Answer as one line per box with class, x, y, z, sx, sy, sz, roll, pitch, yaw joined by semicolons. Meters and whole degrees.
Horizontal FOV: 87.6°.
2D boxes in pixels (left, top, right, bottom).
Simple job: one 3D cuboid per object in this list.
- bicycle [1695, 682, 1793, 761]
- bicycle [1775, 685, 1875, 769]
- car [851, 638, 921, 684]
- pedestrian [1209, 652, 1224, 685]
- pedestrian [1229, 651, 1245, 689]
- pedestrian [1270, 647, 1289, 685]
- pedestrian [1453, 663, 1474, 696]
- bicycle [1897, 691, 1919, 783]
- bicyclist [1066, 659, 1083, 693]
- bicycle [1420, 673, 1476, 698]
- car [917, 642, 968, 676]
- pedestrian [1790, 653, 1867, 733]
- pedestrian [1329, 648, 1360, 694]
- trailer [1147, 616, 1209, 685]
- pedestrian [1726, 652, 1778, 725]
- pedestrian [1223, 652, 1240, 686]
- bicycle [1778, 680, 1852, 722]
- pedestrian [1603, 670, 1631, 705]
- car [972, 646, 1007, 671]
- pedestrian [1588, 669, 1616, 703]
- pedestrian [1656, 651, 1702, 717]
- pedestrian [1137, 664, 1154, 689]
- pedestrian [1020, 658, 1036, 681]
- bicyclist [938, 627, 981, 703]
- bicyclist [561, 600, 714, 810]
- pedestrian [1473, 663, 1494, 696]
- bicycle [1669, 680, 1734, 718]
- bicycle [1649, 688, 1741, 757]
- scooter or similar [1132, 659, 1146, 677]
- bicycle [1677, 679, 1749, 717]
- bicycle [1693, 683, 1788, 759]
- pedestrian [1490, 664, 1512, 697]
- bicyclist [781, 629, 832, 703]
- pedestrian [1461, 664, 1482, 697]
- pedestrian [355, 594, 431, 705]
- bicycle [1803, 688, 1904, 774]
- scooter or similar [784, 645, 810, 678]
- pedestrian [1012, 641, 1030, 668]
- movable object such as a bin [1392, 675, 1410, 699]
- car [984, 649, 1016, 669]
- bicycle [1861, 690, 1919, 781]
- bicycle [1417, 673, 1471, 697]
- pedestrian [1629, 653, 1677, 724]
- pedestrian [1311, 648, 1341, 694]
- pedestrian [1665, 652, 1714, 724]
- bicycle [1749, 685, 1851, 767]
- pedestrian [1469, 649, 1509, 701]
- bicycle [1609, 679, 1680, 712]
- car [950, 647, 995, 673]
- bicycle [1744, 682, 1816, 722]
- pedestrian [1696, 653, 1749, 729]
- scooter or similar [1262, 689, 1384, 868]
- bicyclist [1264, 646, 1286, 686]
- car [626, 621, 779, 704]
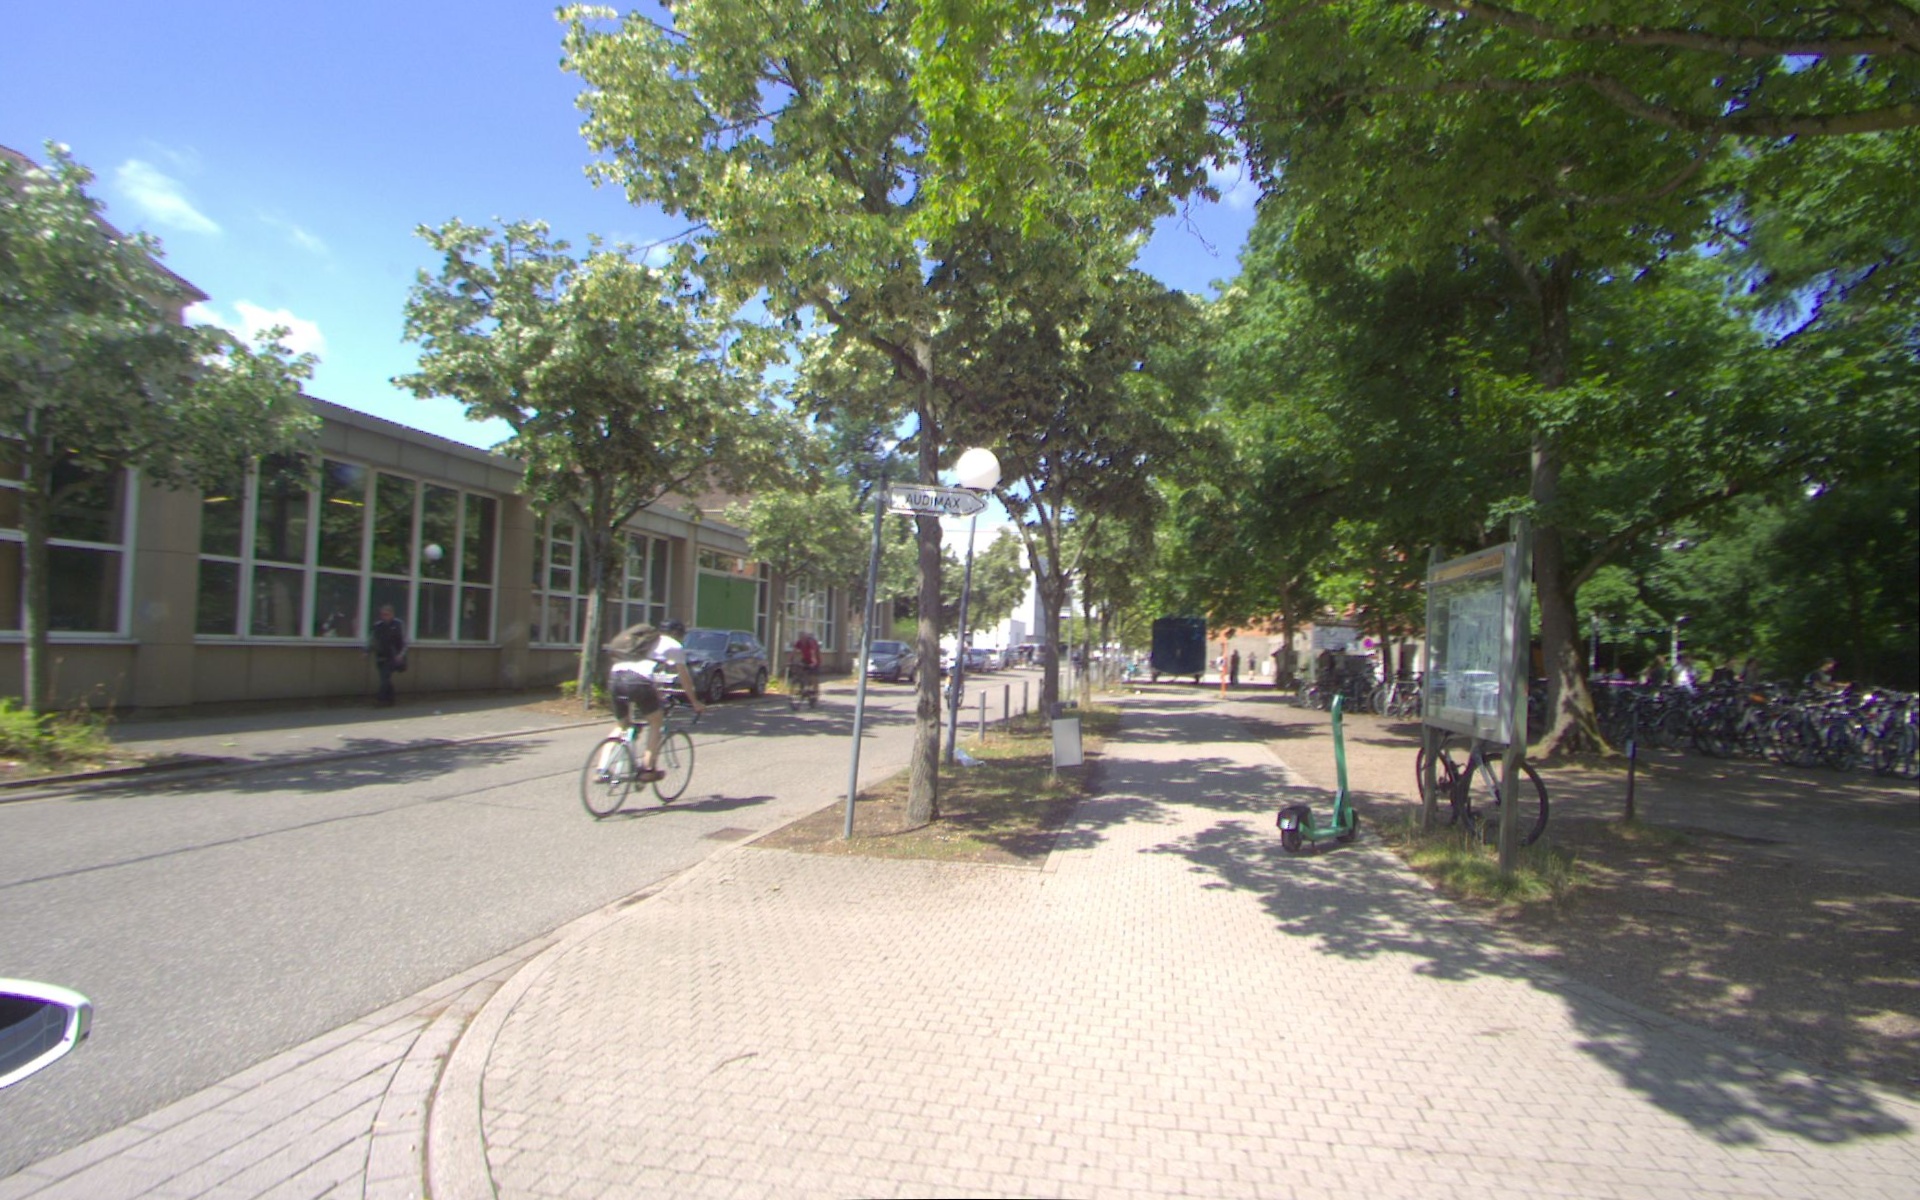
bicycle;12.370;1.905;15.786;1.764;1.185;0.401;3;-2;-23
bicycle;12.876;1.882;14.891;1.816;1.185;0.344;3;-2;-23
car;-2.839;2.367;39.192;1.729;1.575;4.115;4;-2;9
pedestrian;13.297;3.568;51.997;0.686;1.682;0.788;1;-2;11
pedestrian;11.543;2.929;41.801;0.559;1.590;0.928;1;-4;11
pedestrian;16.018;3.312;50.192;0.753;1.878;0.824;1;-2;11
pedestrian;21.531;3.405;42.811;0.560;1.364;0.729;-1;-2;7
bicycle;13.311;1.854;13.734;1.823;1.185;0.343;4;-2;-37
bicyclist;6.306;4.170;55.089;0.796;1.778;0.692;3;-2;12
bicycle;23.804;4.176;48.903;2.361;1.085;0.782;2;-3;19
car;-0.825;2.964;50.142;1.698;1.474;4.585;4;-2;9
pedestrian;20.298;2.161;23.422;0.945;1.798;0.972;2;-1;-10
pedestrian;16.897;3.105;44.034;0.819;1.973;1.078;1;-2;-9
trailer;10.449;2.447;48.484;2.649;3.089;6.259;1;-3;10
pedestrian;20.194;2.247;25.558;0.730;1.798;0.721;2;-1;3
pedestrian;14.053;3.570;51.839;0.753;1.682;0.824;1;-2;11
bicycle;22.359;2.635;26.184;1.720;1.052;0.478;2;-2;-10
pedestrian;24.725;3.274;37.677;0.656;1.287;0.622;-1;-2;7
car;1.932;3.750;64.580;1.636;1.429;3.808;3;-2;11
pedestrian;24.716;3.310;38.549;0.656;1.287;0.622;-1;-2;7
pedestrian;20.057;2.339;27.951;0.731;1.798;0.720;2;-1;-14
pedestrian;14.158;5.826;76.306;0.945;1.717;0.703;7;2;22
pedestrian;4.892;4.977;72.046;0.838;1.615;0.826;2;-2;-32
bicyclist;-0.010;1.607;24.727;0.759;1.778;0.848;4;-1;12
bicyclist;-2.825;0.897;8.885;0.706;1.683;1.095;4;-2;13
pedestrian;22.324;3.392;42.705;0.560;1.364;0.729;-1;-2;7
bicycle;21.429;2.872;28.943;1.751;1.052;0.435;2;-2;-10
bicycle;12.239;2.033;16.667;1.765;1.083;0.425;3;-2;-25
scooter or similar;12.209;4.623;68.313;0.640;1.175;1.261;1;-2;26
bicycle;22.130;2.875;29.435;1.922;1.052;0.479;2;-2;-8
bicycle;12.795;1.978;16.407;1.764;1.185;0.401;3;-2;-23
pedestrian;22.589;3.353;41.821;0.560;1.364;0.729;-1;-2;7
bicyclist;-3.443;1.474;22.510;0.822;1.562;0.960;3;-2;8
pedestrian;21.463;3.372;42.016;0.560;1.364;0.729;-1;-2;7
pedestrian;-9.696;0.833;17.134;0.776;1.810;0.670;4;-1;12
bicycle;12.993;1.891;14.557;1.816;1.185;0.344;3;-2;-23
scooter or similar;-6.142;2.319;37.790;0.497;1.183;1.215;4;-2;11
pedestrian;4.519;4.071;74.682;0.842;1.887;1.109;-3;6;-31
movable object such as a bin;20.491;4.027;46.496;0.590;1.084;0.743;2;-4;12
car;2.854;4.153;70.713;1.619;1.317;3.928;2;-3;12
bicycle;13.105;1.869;14.044;1.823;1.185;0.343;4;-2;-37
bicycle;24.054;4.210;49.784;2.364;1.085;0.781;1;-3;25
pedestrian;18.177;2.301;26.284;0.730;1.798;0.721;2;-1;3
pedestrian;16.043;3.087;43.897;0.819;1.973;1.078;1;-2;-9
pedestrian;19.085;2.287;26.212;0.730;1.798;0.721;2;-1;3
bicycle;12.826;1.915;15.272;1.816;1.185;0.401;3;-2;-23
pedestrian;19.077;2.700;36.155;0.942;1.798;0.920;2;-1;3
bicycle;21.462;2.988;31.403;1.922;0.991;0.613;2;-2;-8
car;0.780;3.480;58.447;1.698;1.360;4.165;4;-2;13
bicycle;22.458;2.796;27.427;1.798;1.052;0.478;2;-2;-10
pedestrian;18.635;2.220;24.482;0.732;1.798;0.719;2;-1;-20
scooter or similar;2.733;1.268;7.472;0.491;1.128;1.354;1;-1;36
bicyclist;14.066;2.933;44.742;0.521;1.751;1.079;1;-2;-9
car;-5.983;1.479;23.874;1.792;1.652;4.519;4;-2;9
